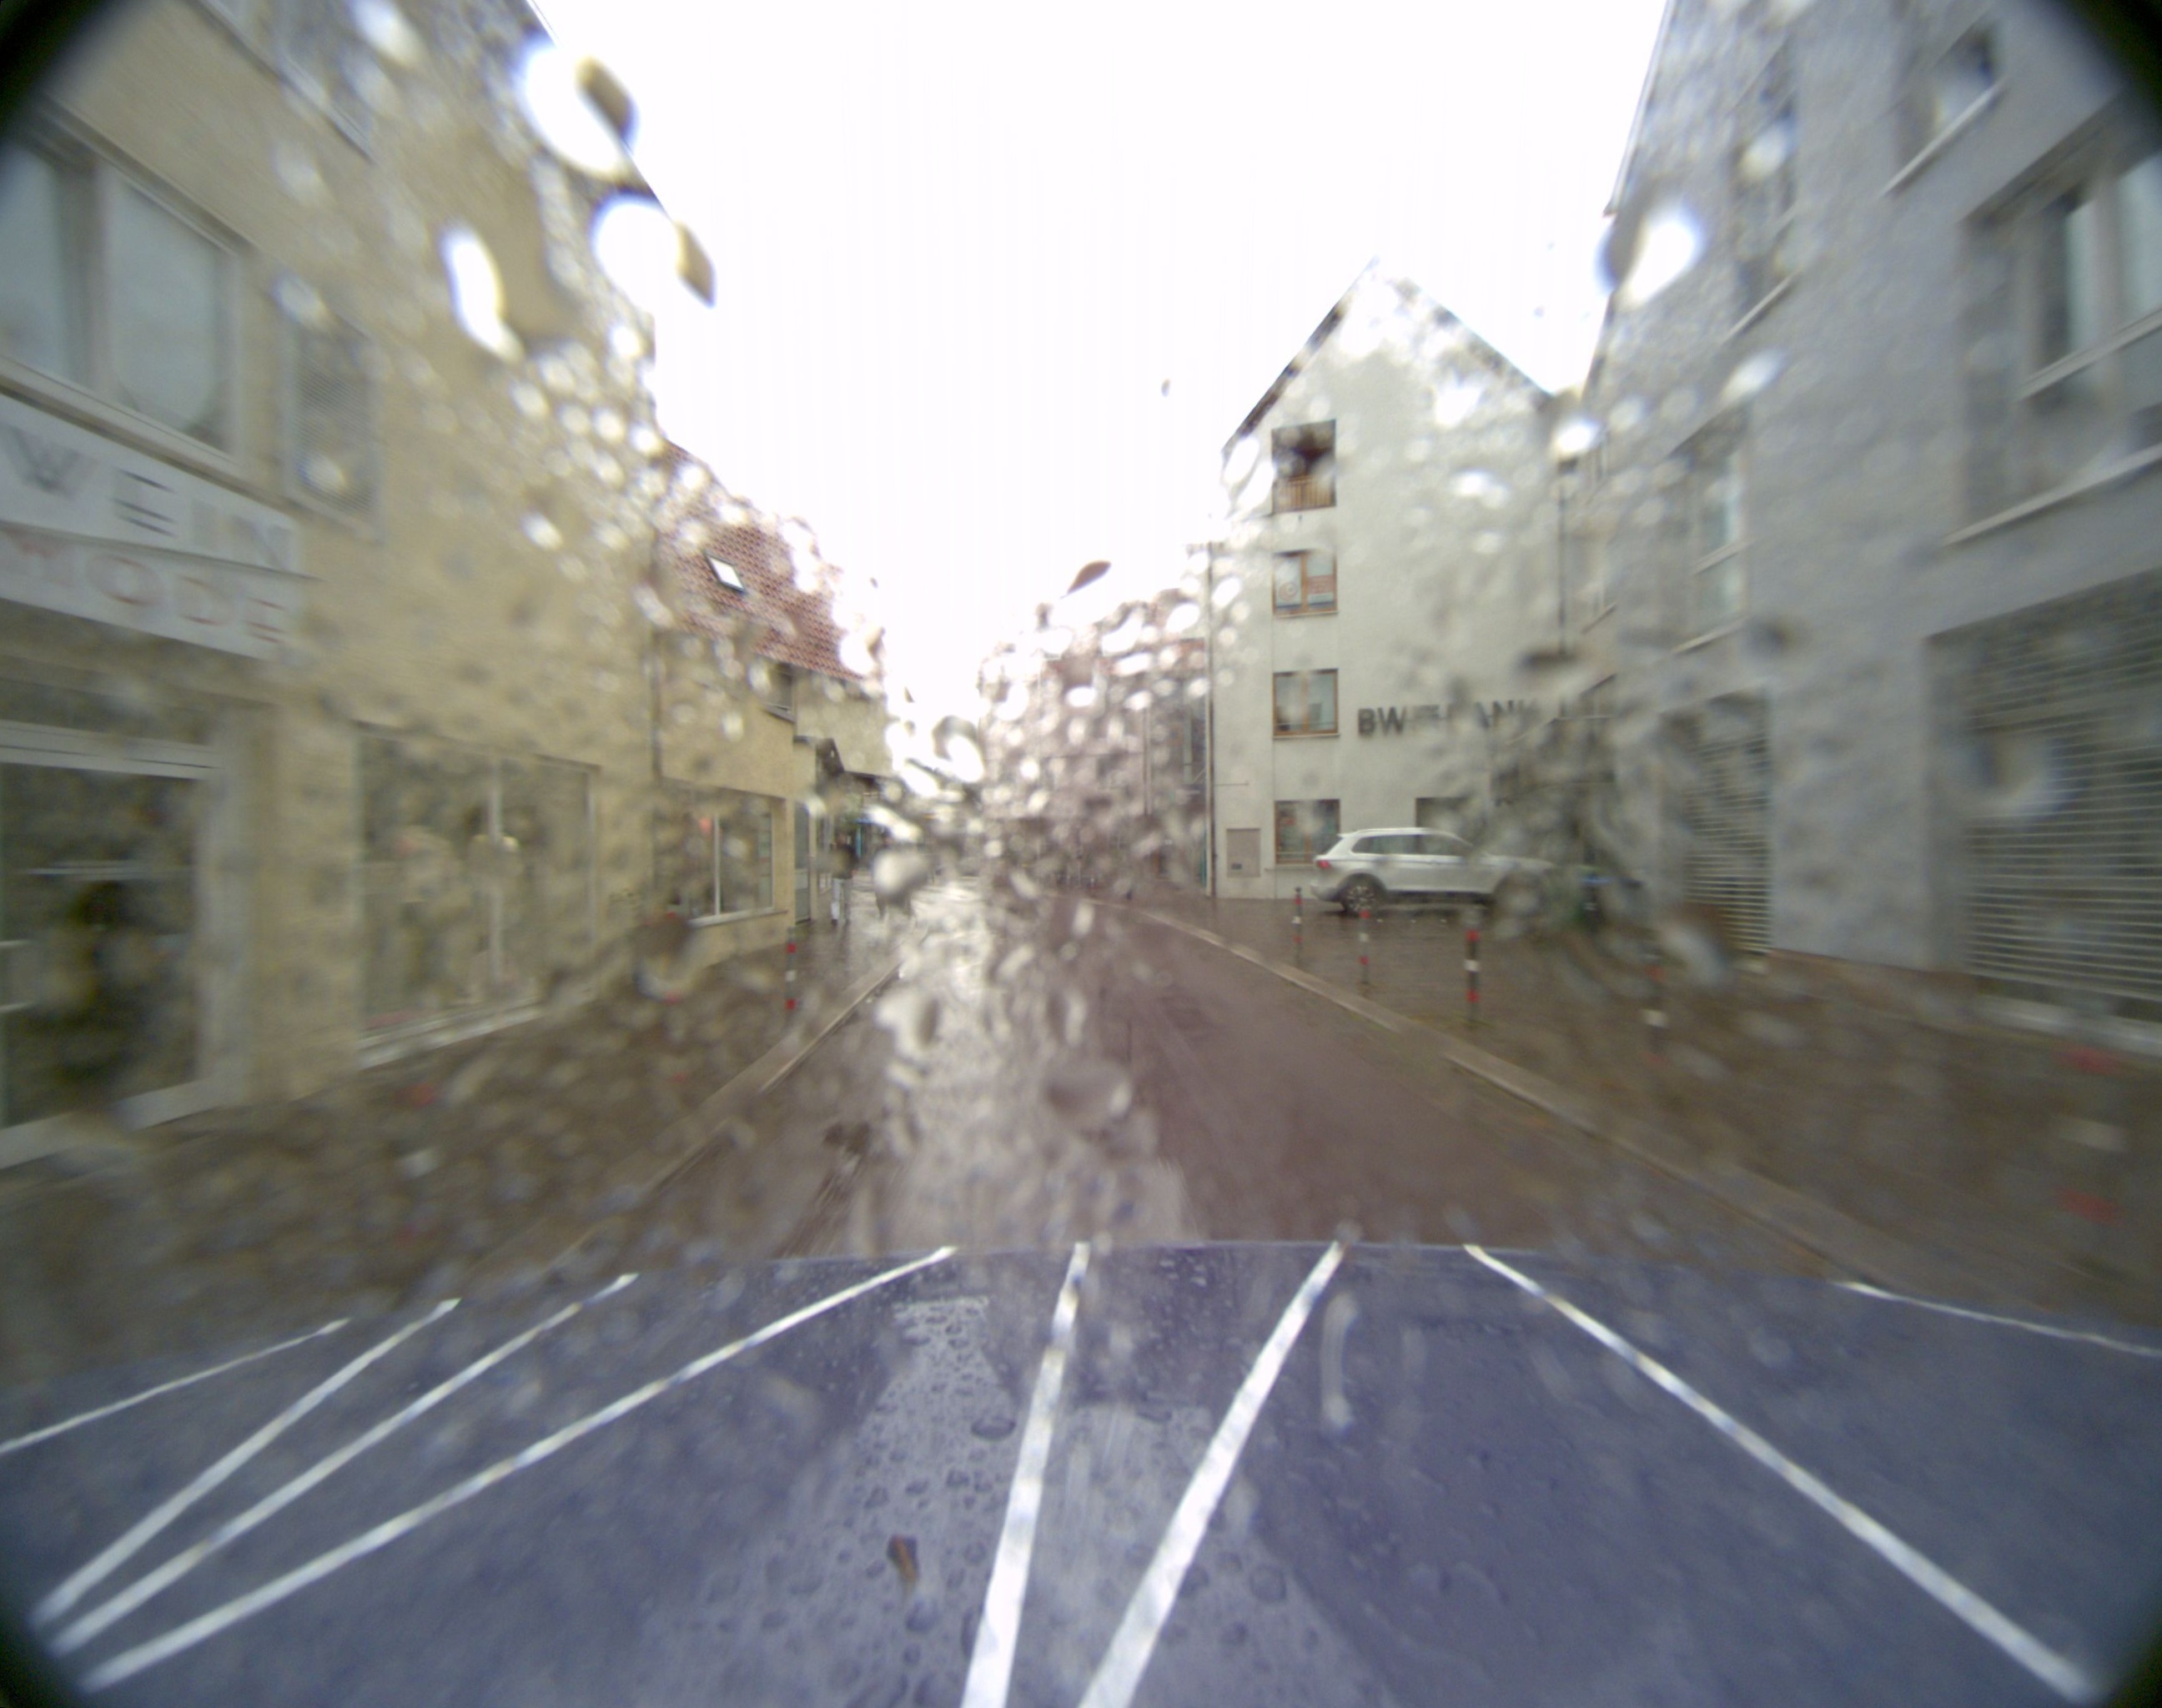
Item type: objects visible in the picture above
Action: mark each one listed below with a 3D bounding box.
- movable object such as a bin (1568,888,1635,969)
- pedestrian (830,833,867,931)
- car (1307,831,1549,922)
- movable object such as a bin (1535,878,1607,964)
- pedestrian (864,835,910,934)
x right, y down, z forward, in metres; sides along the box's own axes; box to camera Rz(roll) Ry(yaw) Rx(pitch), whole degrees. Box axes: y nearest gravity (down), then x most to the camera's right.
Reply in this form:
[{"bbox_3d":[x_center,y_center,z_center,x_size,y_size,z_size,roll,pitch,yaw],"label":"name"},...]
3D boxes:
[{"bbox_3d":[6.079,0.860,8.889,0.461,0.891,0.449,-1,2,-3],"label":"movable object such as a bin"},{"bbox_3d":[-4.611,0.537,15.080,0.656,1.892,0.658,1,2,-18],"label":"pedestrian"},{"bbox_3d":[6.466,0.388,14.630,3.991,1.575,1.834,-1,2,16],"label":"car"},{"bbox_3d":[6.090,0.809,9.454,0.489,0.983,0.572,-2,3,-21],"label":"movable object such as a bin"},{"bbox_3d":[-3.809,0.580,14.896,0.775,1.894,0.804,2,2,-18],"label":"pedestrian"}]
